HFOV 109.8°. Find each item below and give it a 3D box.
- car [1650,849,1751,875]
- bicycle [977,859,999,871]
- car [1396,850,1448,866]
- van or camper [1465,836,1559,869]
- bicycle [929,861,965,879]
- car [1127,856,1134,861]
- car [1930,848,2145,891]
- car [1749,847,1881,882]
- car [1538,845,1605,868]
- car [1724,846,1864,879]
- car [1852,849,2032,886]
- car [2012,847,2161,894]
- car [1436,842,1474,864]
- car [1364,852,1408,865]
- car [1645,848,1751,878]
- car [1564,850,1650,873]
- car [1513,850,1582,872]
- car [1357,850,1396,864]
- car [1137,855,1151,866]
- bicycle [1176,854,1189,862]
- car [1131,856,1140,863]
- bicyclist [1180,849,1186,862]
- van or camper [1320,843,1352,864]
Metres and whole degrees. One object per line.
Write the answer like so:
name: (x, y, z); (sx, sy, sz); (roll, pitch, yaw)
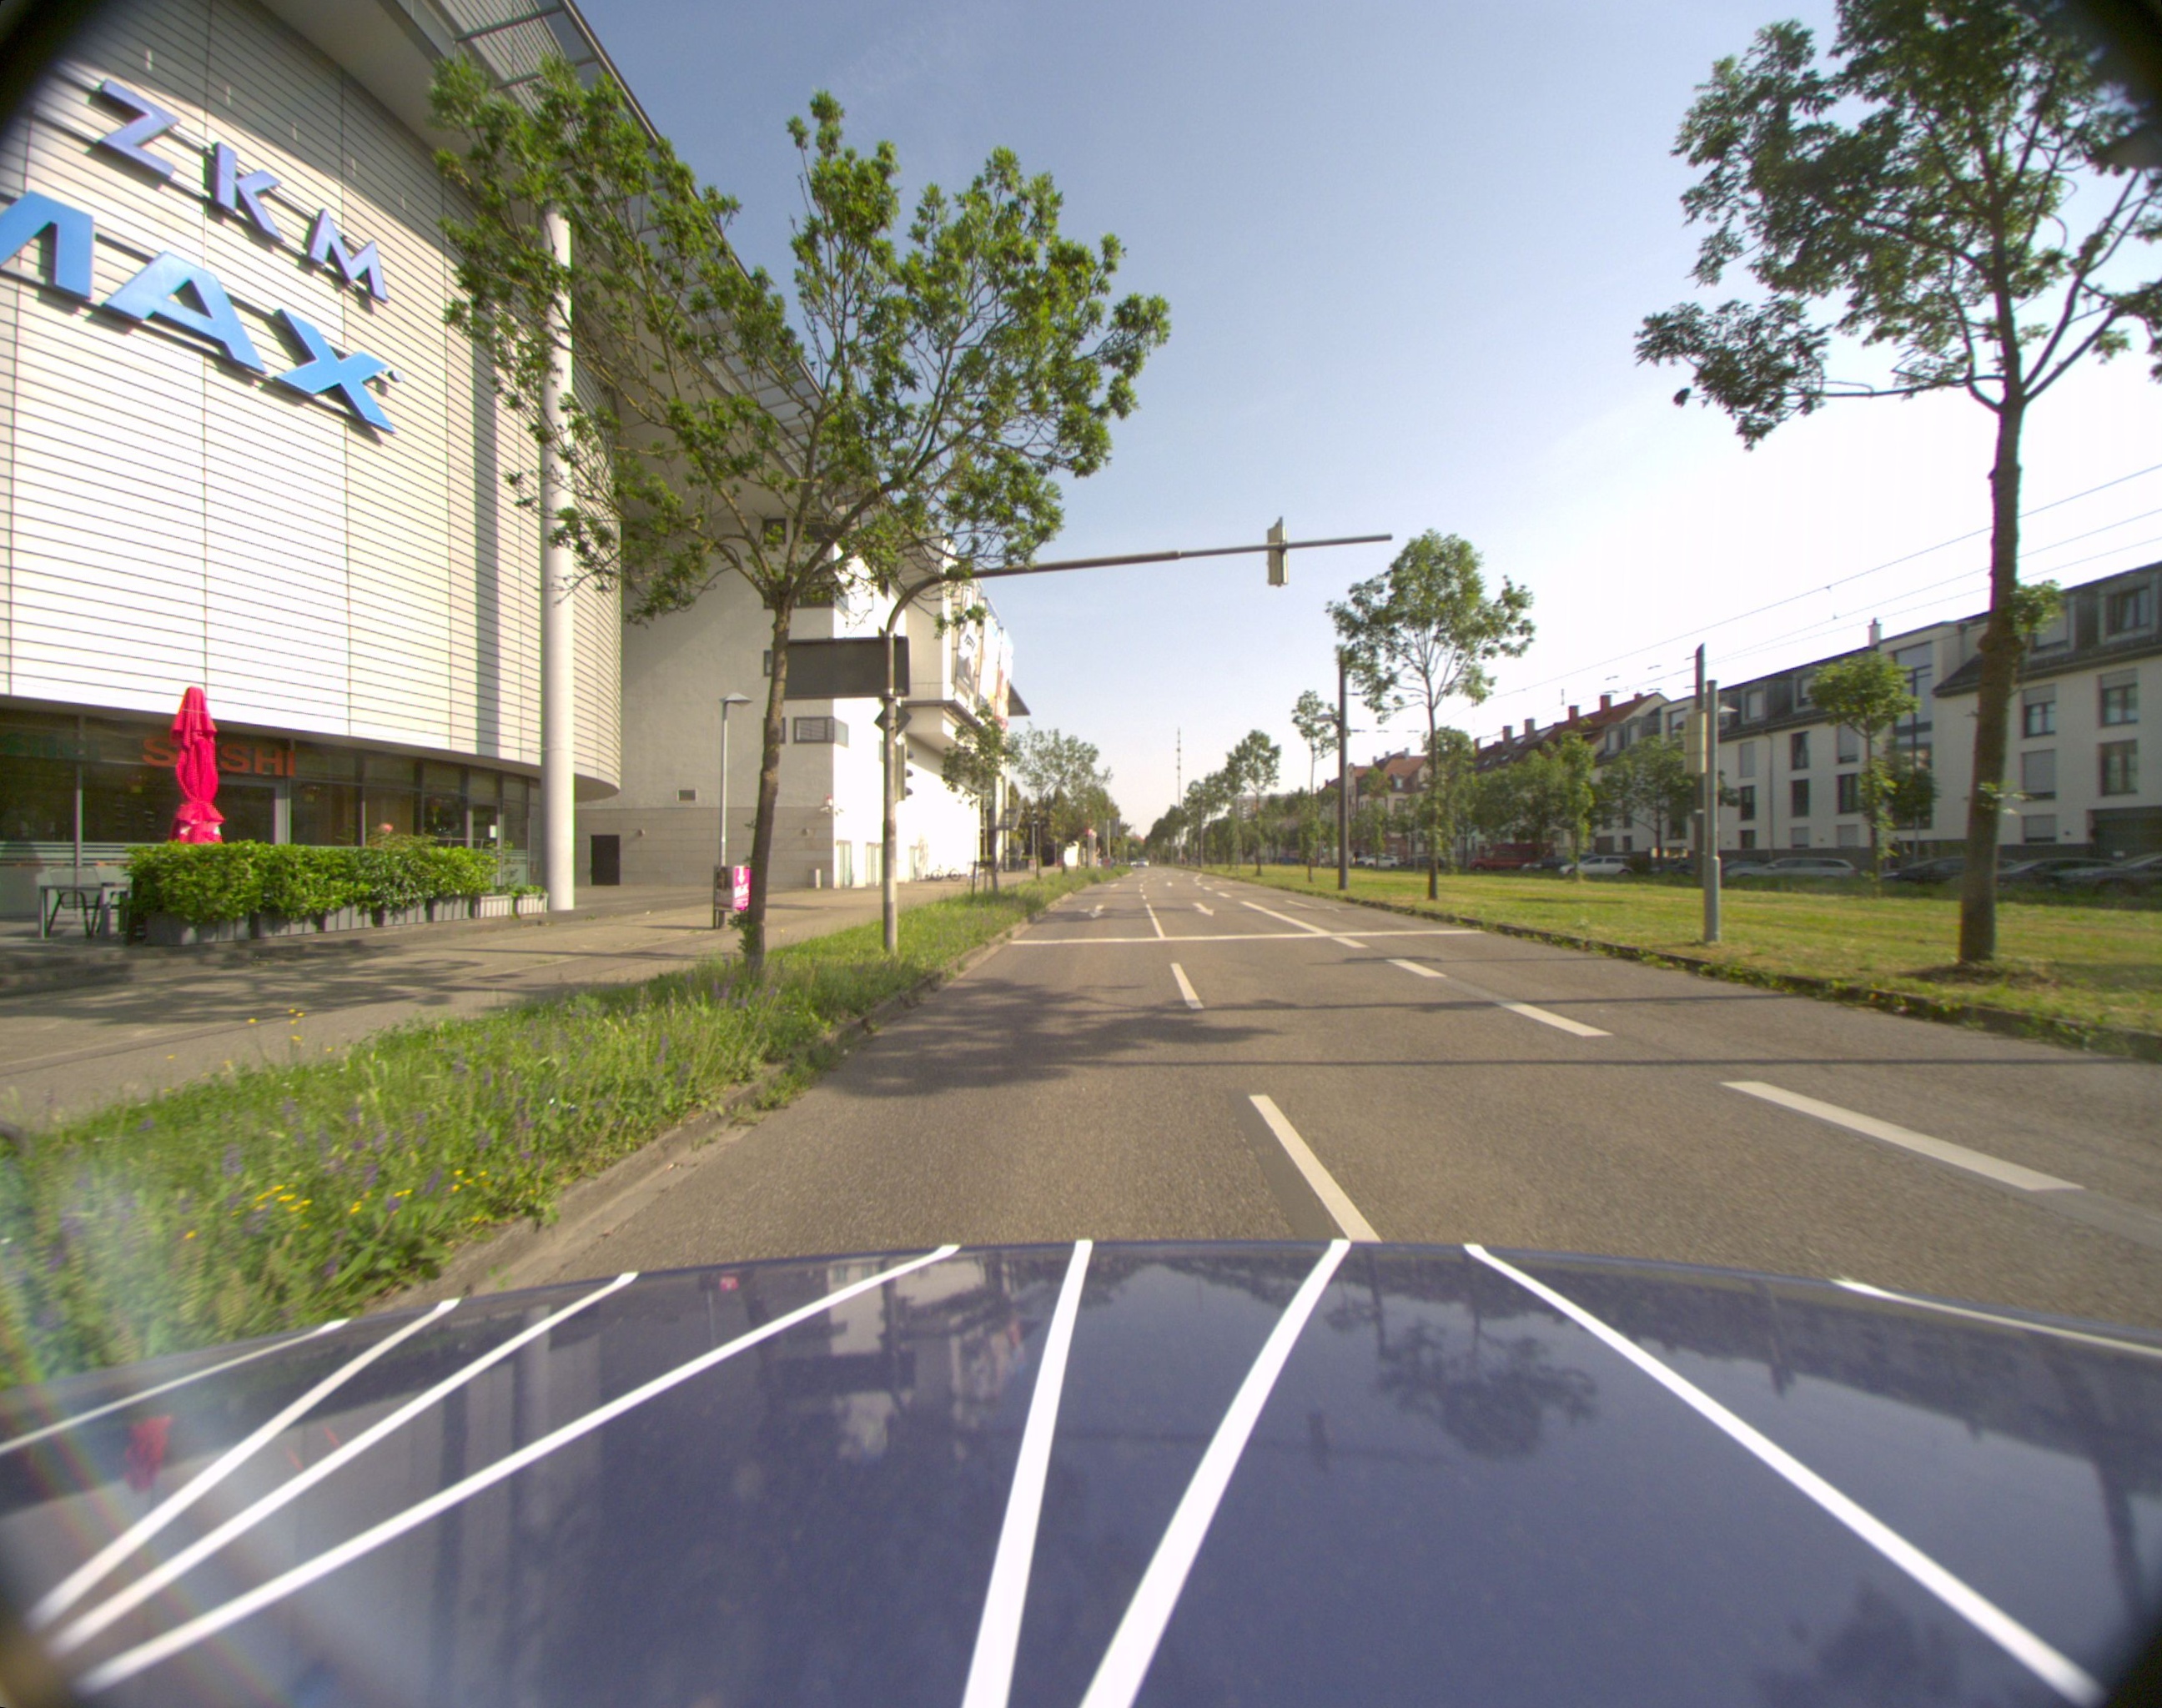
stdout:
car: (33.432, 0.426, 41.147); (3.989, 1.368, 1.839); (0, 0, 31)
bicycle: (-7.475, 0.893, 60.868); (1.661, 0.910, 0.483); (0, 0, 4)
car: (34.819, 0.438, 77.632); (4.338, 1.521, 2.004); (-2, 0, 43)
van or camper: (34.586, -0.111, 61.069); (6.144, 2.532, 2.419); (-1, 0, 41)
bicycle: (-8.137, 0.984, 46.275); (2.012, 1.096, 0.676); (-1, 1, 8)
car: (14.115, 1.282, 216.267); (1.998, 1.652, 4.001); (-1, 0, 3)
car: (31.700, 0.517, 25.381); (3.990, 1.280, 2.003); (-2, 0, 29)
car: (31.569, 0.455, 32.822); (3.771, 1.368, 1.667); (-2, 0, 29)
car: (33.230, 0.147, 51.513); (3.711, 1.426, 1.645); (-2, 0, 36)
car: (32.798, 0.402, 35.128); (4.329, 1.368, 2.003); (-2, 0, 29)
car: (31.881, 0.477, 28.330); (3.989, 1.280, 2.004); (0, 0, 29)
car: (31.339, 0.477, 22.670); (4.049, 1.280, 2.004); (-2, 0, 31)
car: (43.099, -0.157, 87.741); (1.998, 2.449, 5.580); (0, 0, 5)
car: (36.141, 0.523, 90.061); (4.354, 1.466, 1.861); (-2, 0, 41)
car: (31.797, 0.466, 39.335); (3.989, 1.368, 1.931); (-2, 0, 31)
car: (33.335, 0.505, 48.177); (4.387, 1.312, 1.737); (-2, 0, 36)
car: (33.560, 0.505, 54.678); (3.989, 1.412, 1.785); (-2, 0, 39)
car: (36.140, 0.394, 93.039); (4.088, 1.520, 1.816); (-2, 0, 41)
car: (9.399, 0.997, 113.297); (1.998, 1.652, 4.001); (-1, 0, 3)
bicycle: (14.155, 0.573, 105.539); (1.750, 1.139, 0.577); (0, 1, 4)
car: (13.190, 1.421, 183.395); (1.998, 1.652, 4.001); (-1, 0, 3)
bicyclist: (14.179, 0.226, 105.477); (0.870, 1.812, 0.908); (0, 1, 5)
van or camper: (30.785, -0.053, 92.000); (2.146, 2.459, 6.060); (1, 0, 3)
